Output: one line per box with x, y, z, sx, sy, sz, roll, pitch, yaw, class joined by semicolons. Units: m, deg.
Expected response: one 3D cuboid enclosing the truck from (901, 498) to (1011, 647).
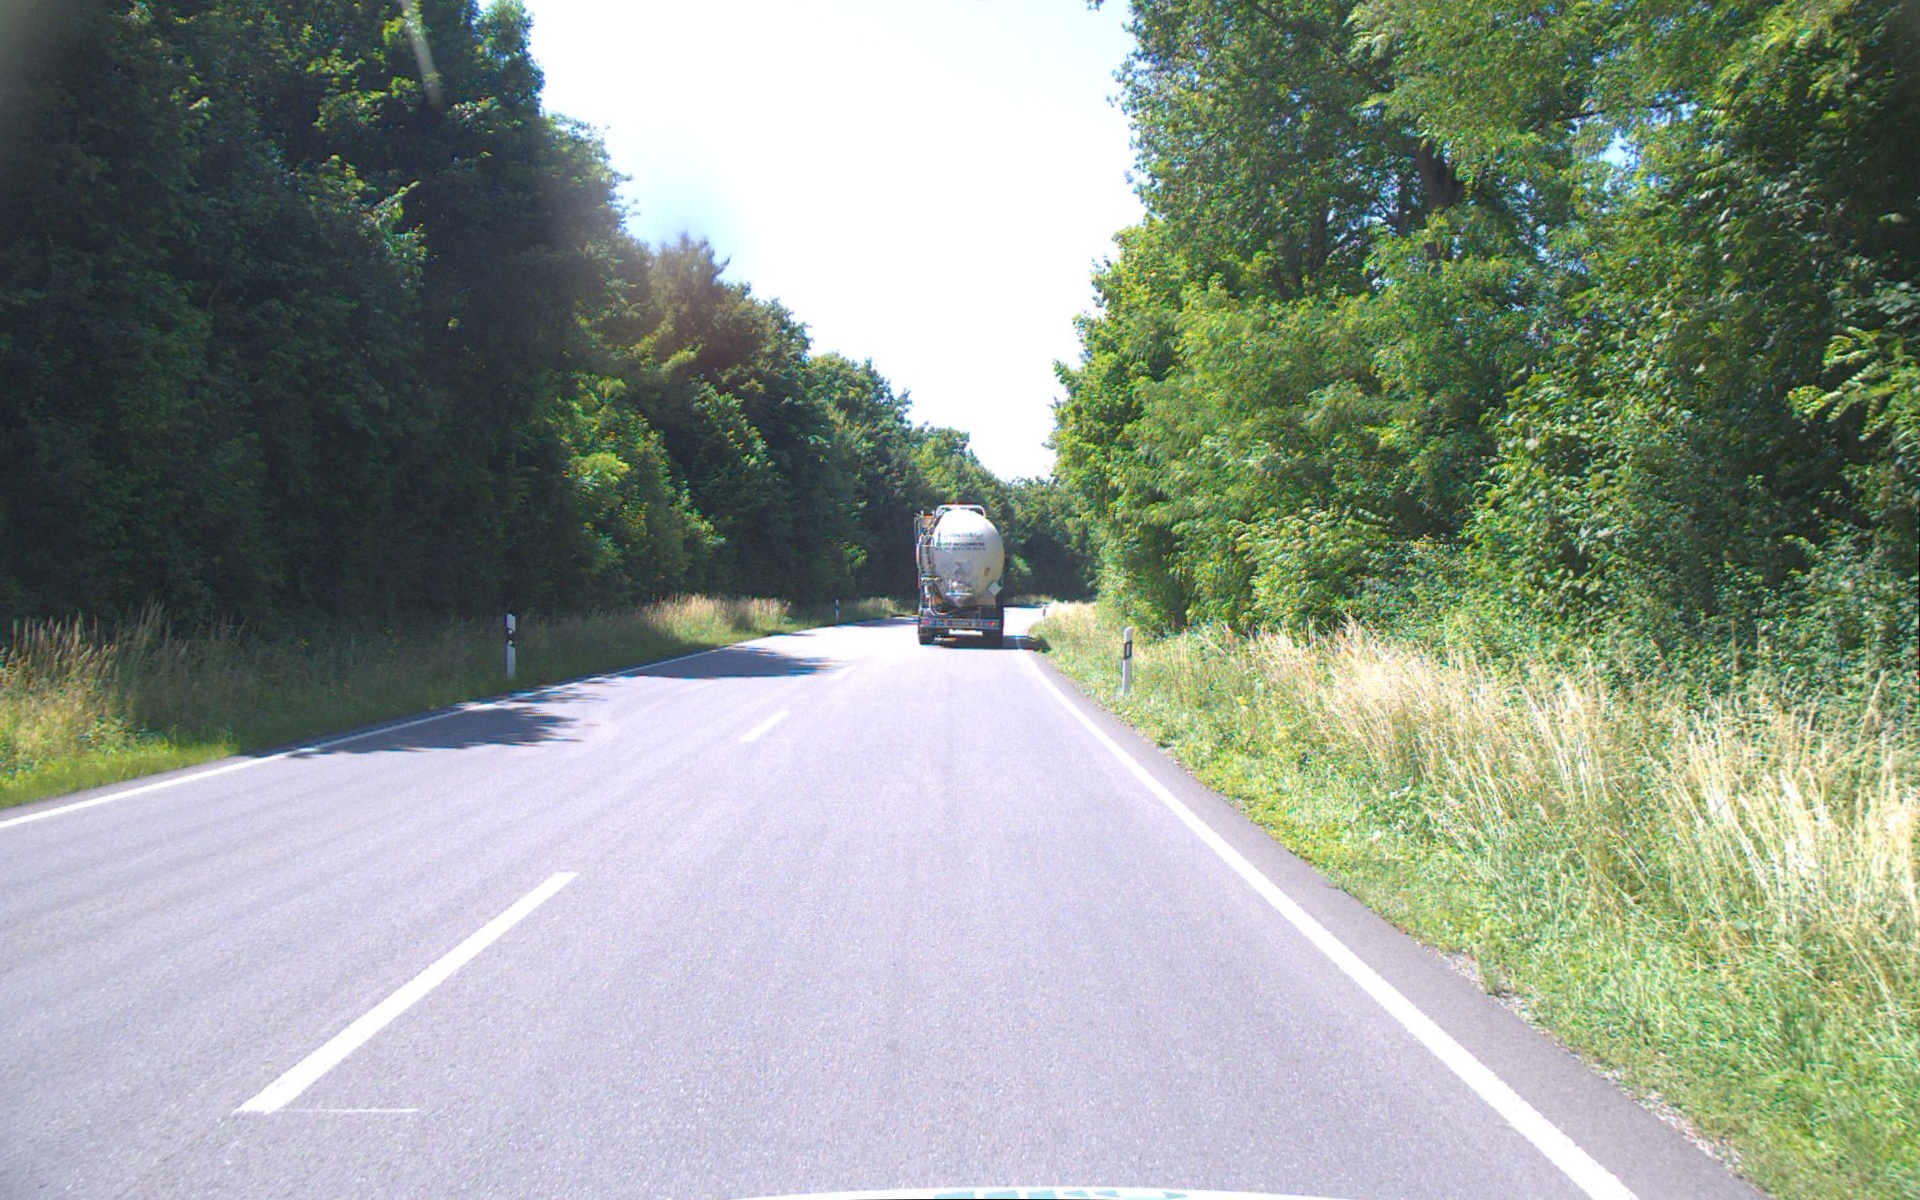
-0.245;-0.805;53.337;2.987;4.068;15.633;1;0;-1;truck
